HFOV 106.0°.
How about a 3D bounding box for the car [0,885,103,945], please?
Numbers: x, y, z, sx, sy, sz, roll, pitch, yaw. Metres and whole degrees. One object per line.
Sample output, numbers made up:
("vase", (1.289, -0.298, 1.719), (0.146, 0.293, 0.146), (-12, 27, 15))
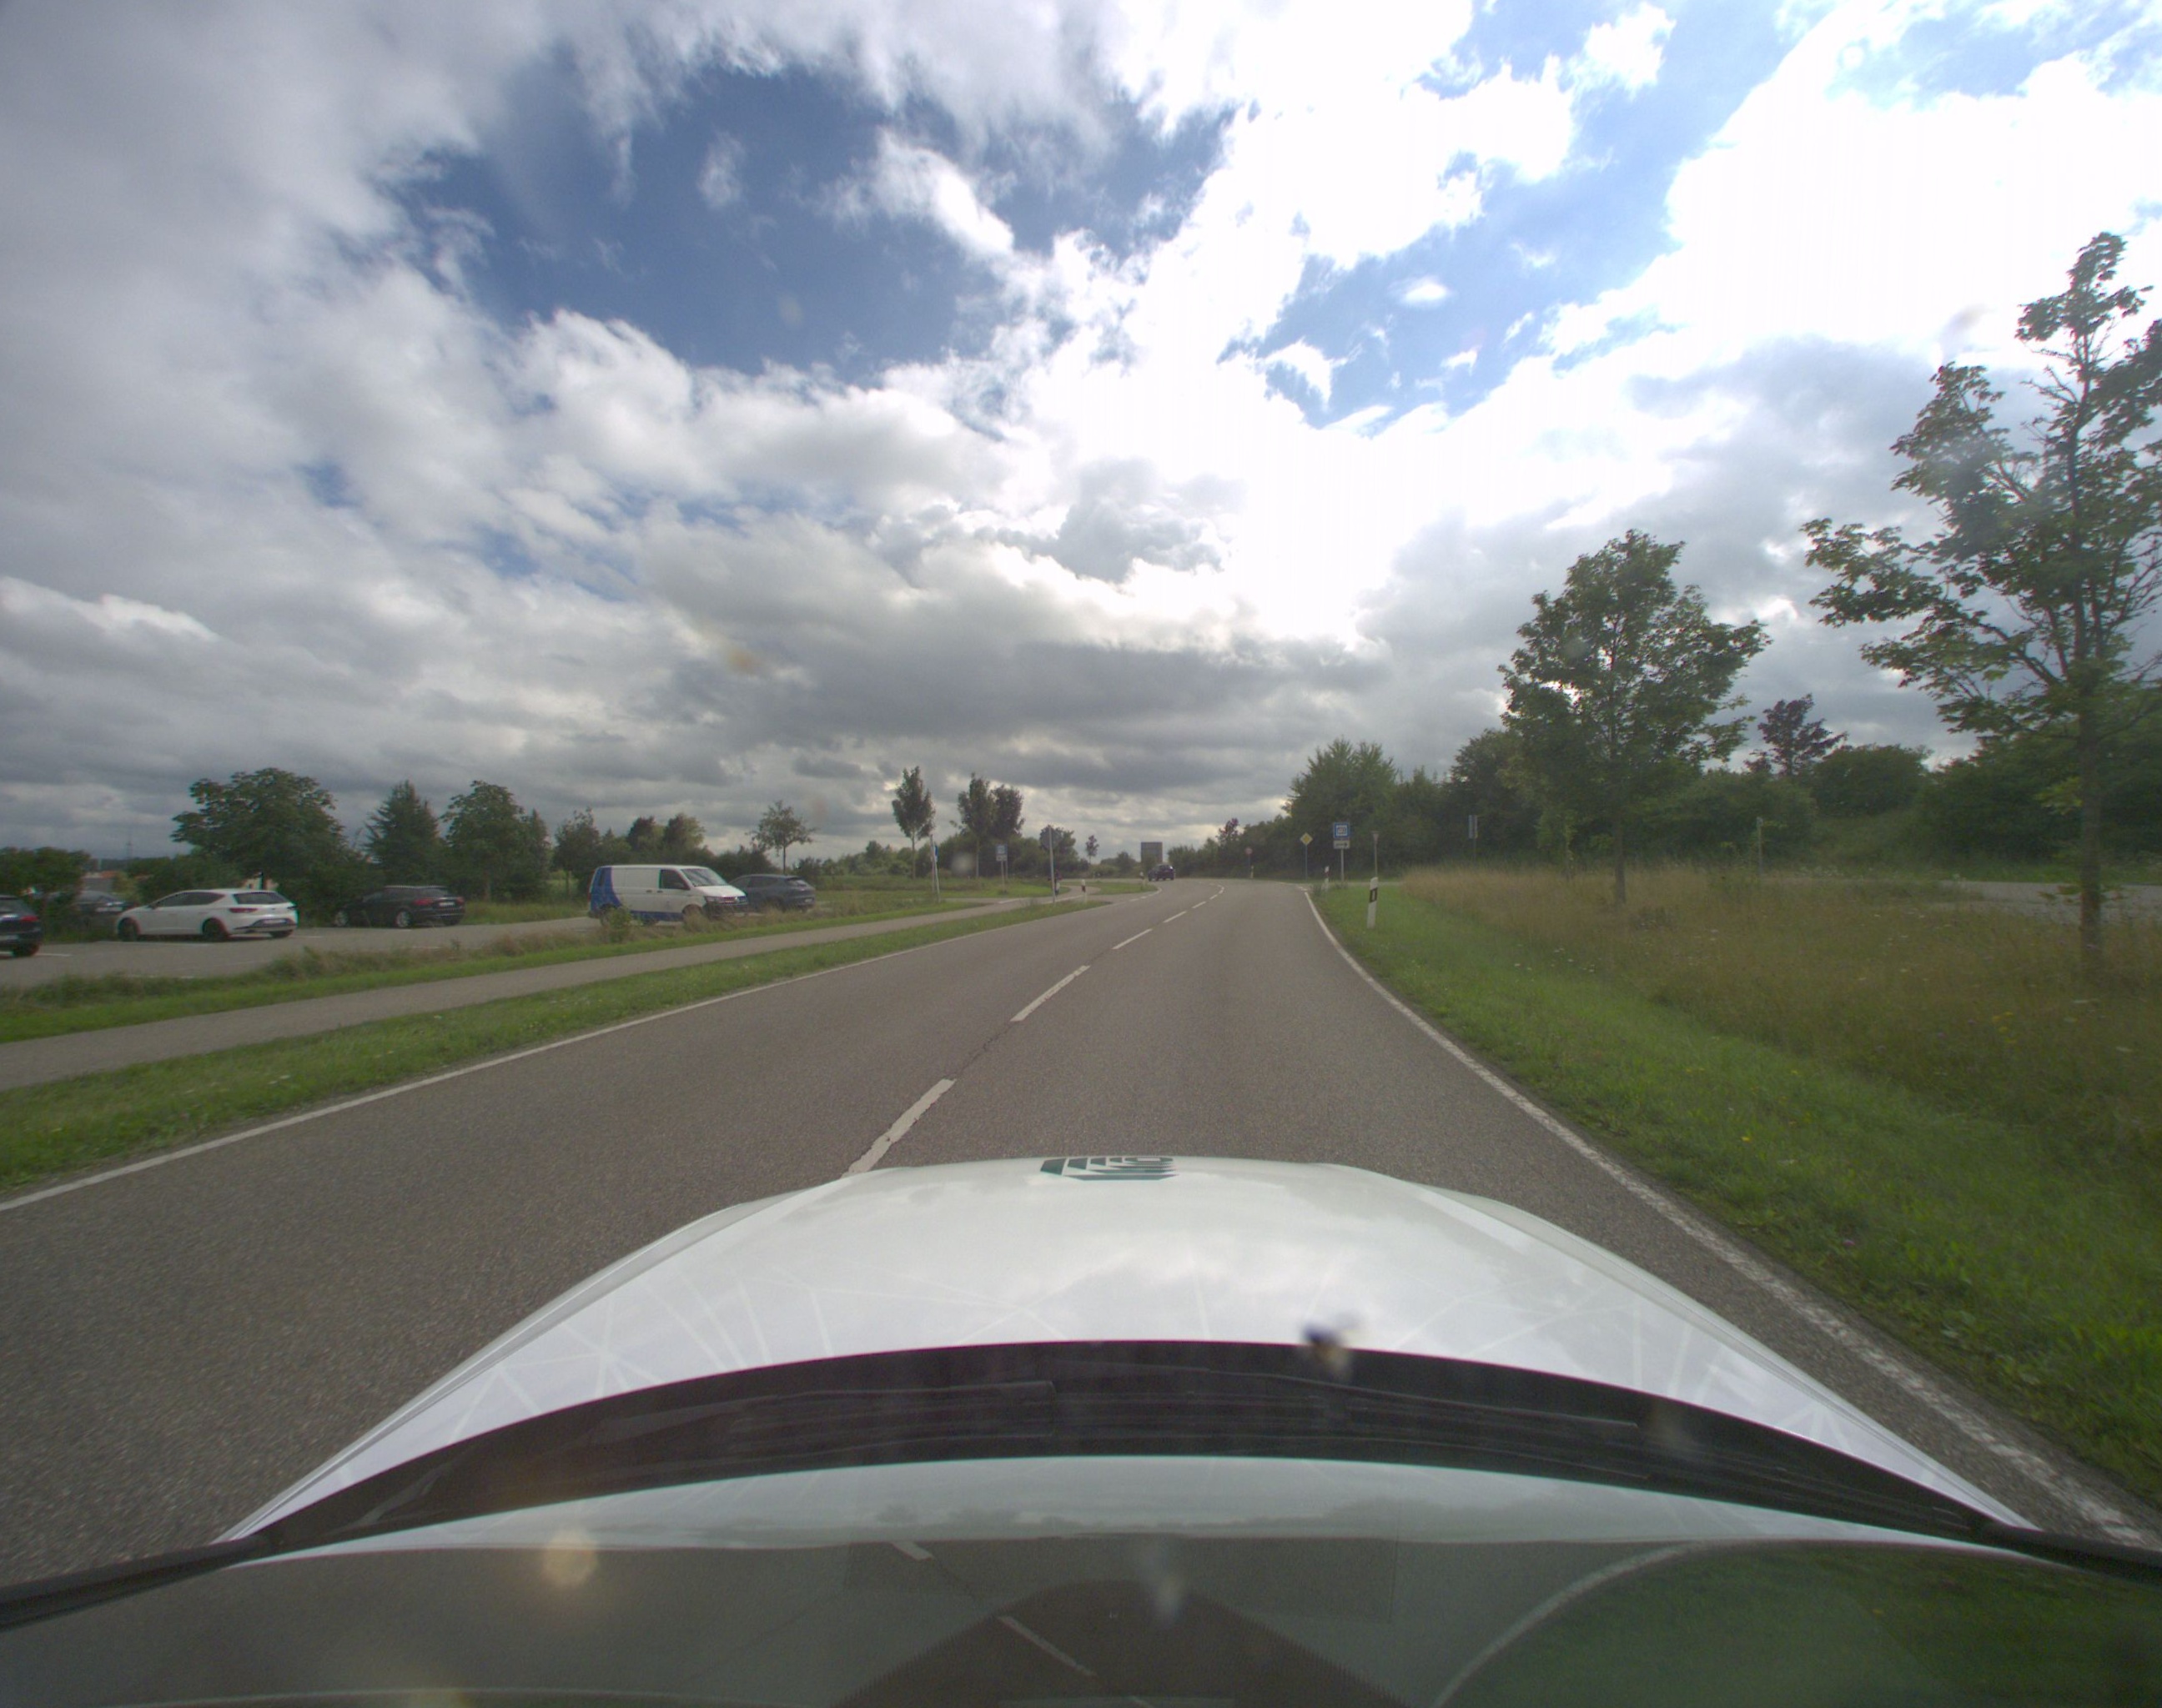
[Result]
("car", (-29.541, 1.692, 23.278), (3.746, 1.526, 1.787), (-2, -1, 43))

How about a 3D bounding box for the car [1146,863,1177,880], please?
("car", (8.293, 1.811, 84.186), (1.911, 1.666, 3.977), (-1, -1, -16))

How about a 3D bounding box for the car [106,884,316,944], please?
("car", (-24.414, 1.654, 22.953), (3.967, 1.552, 1.968), (0, -1, 5))

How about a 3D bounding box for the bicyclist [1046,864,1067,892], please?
("bicyclist", (-1.374, 1.355, 46.064), (0.824, 1.566, 1.060), (-2, -1, 16))

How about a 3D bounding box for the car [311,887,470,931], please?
("car", (-23.400, 1.834, 27.679), (3.967, 1.387, 1.845), (0, -1, 5))

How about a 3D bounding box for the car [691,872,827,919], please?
("car", (-11.898, 1.532, 30.212), (4.219, 1.595, 2.007), (-2, -1, 12))

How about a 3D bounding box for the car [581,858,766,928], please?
("car", (-12.643, 1.200, 25.393), (4.862, 2.014, 2.063), (-2, -1, 11))

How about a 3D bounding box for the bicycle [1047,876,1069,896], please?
("bicycle", (-1.314, 1.820, 46.231), (0.631, 1.032, 2.199), (-2, -1, 15))

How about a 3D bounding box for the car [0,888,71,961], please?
("car", (-25.257, 1.556, 18.071), (3.960, 1.552, 1.972), (-1, -1, 12))
